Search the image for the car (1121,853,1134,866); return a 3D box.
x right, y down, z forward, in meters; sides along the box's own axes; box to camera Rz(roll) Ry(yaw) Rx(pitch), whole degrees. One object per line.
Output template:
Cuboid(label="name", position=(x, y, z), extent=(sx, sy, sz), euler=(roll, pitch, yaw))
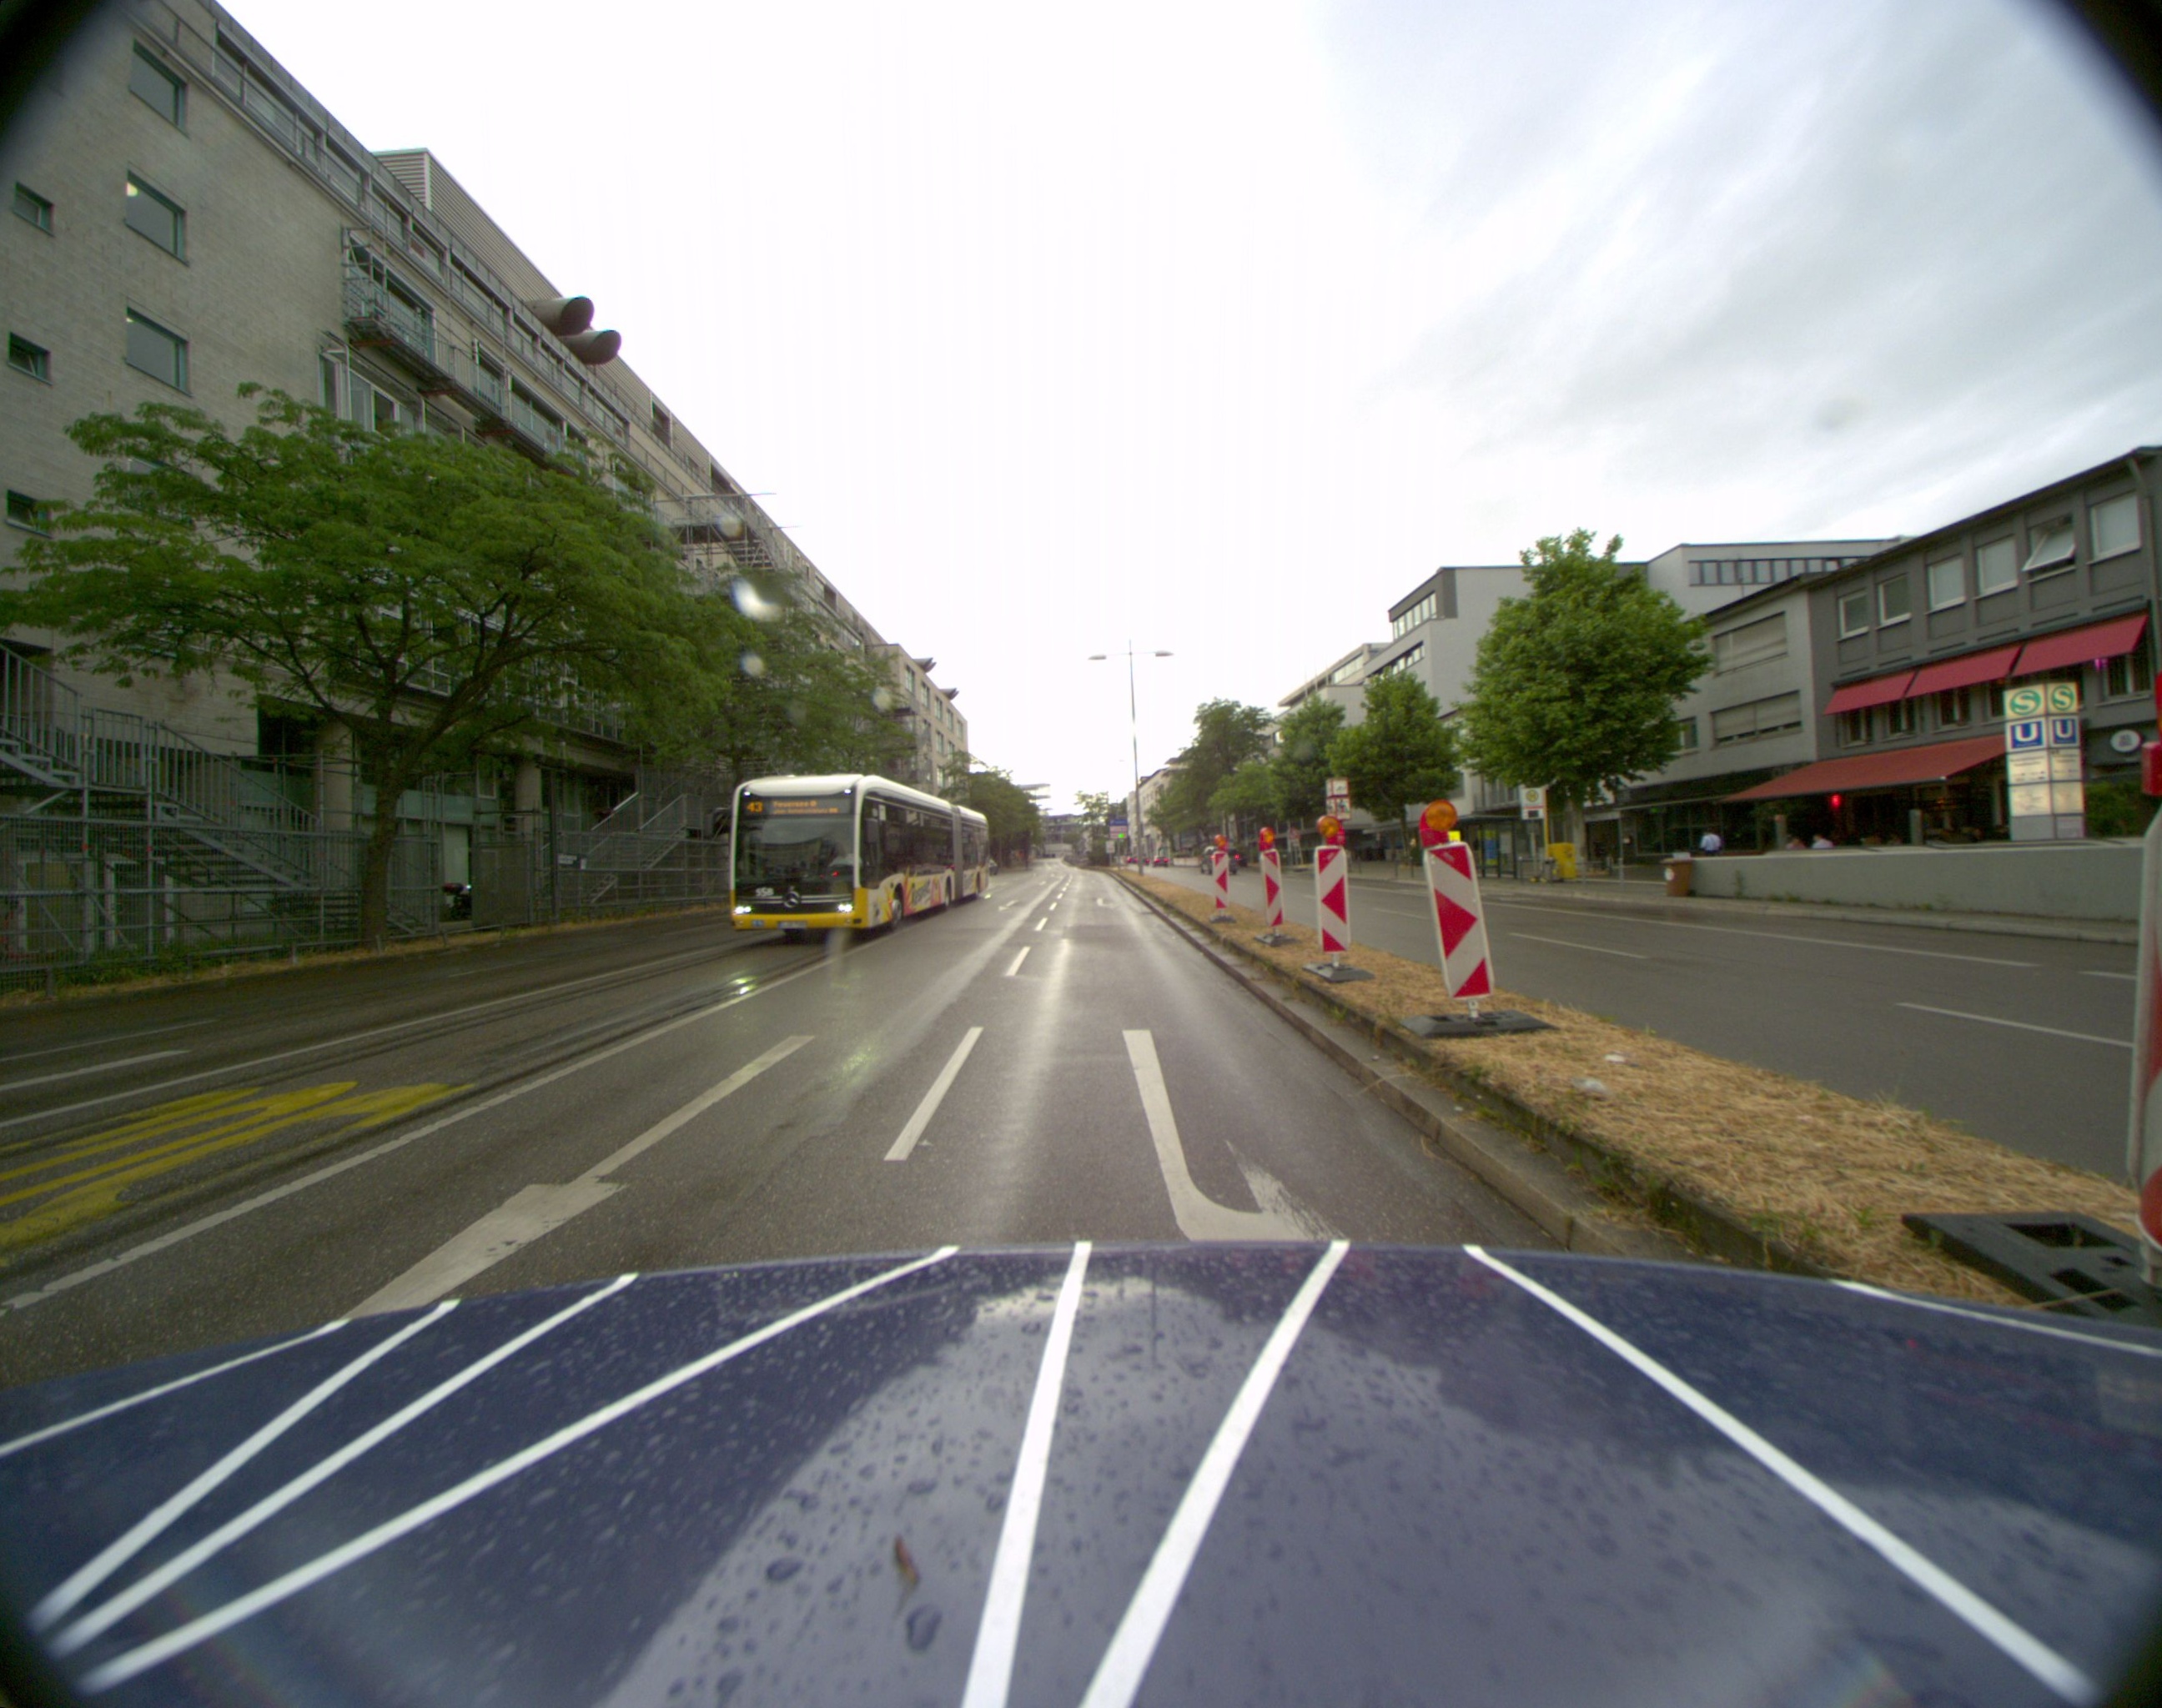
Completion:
Cuboid(label="car", position=(7.456, 0.821, 122.012), extent=(1.998, 2.002, 4.000), euler=(-2, 1, 2))

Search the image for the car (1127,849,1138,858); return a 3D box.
Cuboid(label="car", position=(9.802, -0.065, 145.441), extent=(1.692, 1.545, 4.419), euler=(-2, 1, -2))

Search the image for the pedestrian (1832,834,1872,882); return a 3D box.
Cuboid(label="pedestrian", position=(24.910, 0.129, 24.553), extent=(0.669, 1.520, 0.611), euler=(-2, 1, 4))

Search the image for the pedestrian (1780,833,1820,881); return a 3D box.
Cuboid(label="pedestrian", position=(23.329, 0.092, 24.662), extent=(0.669, 1.520, 0.611), euler=(-2, 1, 3))

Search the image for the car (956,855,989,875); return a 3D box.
Cuboid(label="car", position=(-9.454, 0.939, 66.695), extent=(2.147, 1.552, 4.816), euler=(-2, 1, 1))

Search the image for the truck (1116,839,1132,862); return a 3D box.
Cuboid(label="truck", position=(7.117, -0.559, 127.120), extent=(1.999, 3.557, 7.572), euler=(-2, 0, -2))

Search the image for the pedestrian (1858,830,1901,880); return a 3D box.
Cuboid(label="pedestrian", position=(25.001, 0.038, 23.797), extent=(0.669, 1.520, 0.611), euler=(-2, 1, 3))

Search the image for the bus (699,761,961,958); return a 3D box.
Cuboid(label="bus", position=(-5.280, 0.050, 18.536), extent=(2.890, 3.430, 9.756), euler=(-2, 1, 1))

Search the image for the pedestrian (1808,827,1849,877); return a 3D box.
Cuboid(label="pedestrian", position=(23.370, -0.056, 23.765), extent=(0.669, 1.520, 0.611), euler=(-2, 1, 3))

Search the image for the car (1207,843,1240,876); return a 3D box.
Cuboid(label="car", position=(9.819, 0.341, 52.538), extent=(1.997, 1.917, 4.966), euler=(-2, 2, 9))

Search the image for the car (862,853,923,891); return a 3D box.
Cuboid(label="car", position=(-10.516, 0.979, 42.663), extent=(2.213, 1.895, 4.329), euler=(-2, 1, 0))

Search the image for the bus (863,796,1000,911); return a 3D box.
Cuboid(label="bus", position=(-5.134, -0.067, 28.274), extent=(2.890, 3.420, 9.709), euler=(-2, 1, 1))

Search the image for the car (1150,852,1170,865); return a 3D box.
Cuboid(label="car", position=(9.889, 0.538, 95.485), extent=(1.692, 1.501, 4.289), euler=(-2, 0, -5))

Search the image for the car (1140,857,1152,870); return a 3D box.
Cuboid(label="car", position=(10.947, 1.584, 127.706), extent=(1.692, 1.420, 4.222), euler=(-2, -11, 0))

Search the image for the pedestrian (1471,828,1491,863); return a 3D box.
Cuboid(label="pedestrian", position=(24.051, -0.512, 45.708), extent=(0.774, 2.002, 0.767), euler=(-2, 1, 8))

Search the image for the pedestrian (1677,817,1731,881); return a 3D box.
Cuboid(label="pedestrian", position=(20.278, -0.154, 24.749), extent=(0.922, 2.002, 0.944), euler=(-2, 1, 0))

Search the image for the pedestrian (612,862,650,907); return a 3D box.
Cuboid(label="pedestrian", position=(-18.587, 1.233, 31.382), extent=(1.010, 1.789, 0.845), euler=(-2, 1, -4))

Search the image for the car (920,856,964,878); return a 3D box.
Cuboid(label="car", position=(-9.889, 0.879, 54.424), extent=(2.147, 1.329, 4.816), euler=(-2, 1, 1))

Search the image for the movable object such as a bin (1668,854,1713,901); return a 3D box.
Cuboid(label="movable object such as a bin", position=(14.571, 0.555, 18.173), extent=(0.507, 1.094, 0.660), euler=(-2, 1, -2))
